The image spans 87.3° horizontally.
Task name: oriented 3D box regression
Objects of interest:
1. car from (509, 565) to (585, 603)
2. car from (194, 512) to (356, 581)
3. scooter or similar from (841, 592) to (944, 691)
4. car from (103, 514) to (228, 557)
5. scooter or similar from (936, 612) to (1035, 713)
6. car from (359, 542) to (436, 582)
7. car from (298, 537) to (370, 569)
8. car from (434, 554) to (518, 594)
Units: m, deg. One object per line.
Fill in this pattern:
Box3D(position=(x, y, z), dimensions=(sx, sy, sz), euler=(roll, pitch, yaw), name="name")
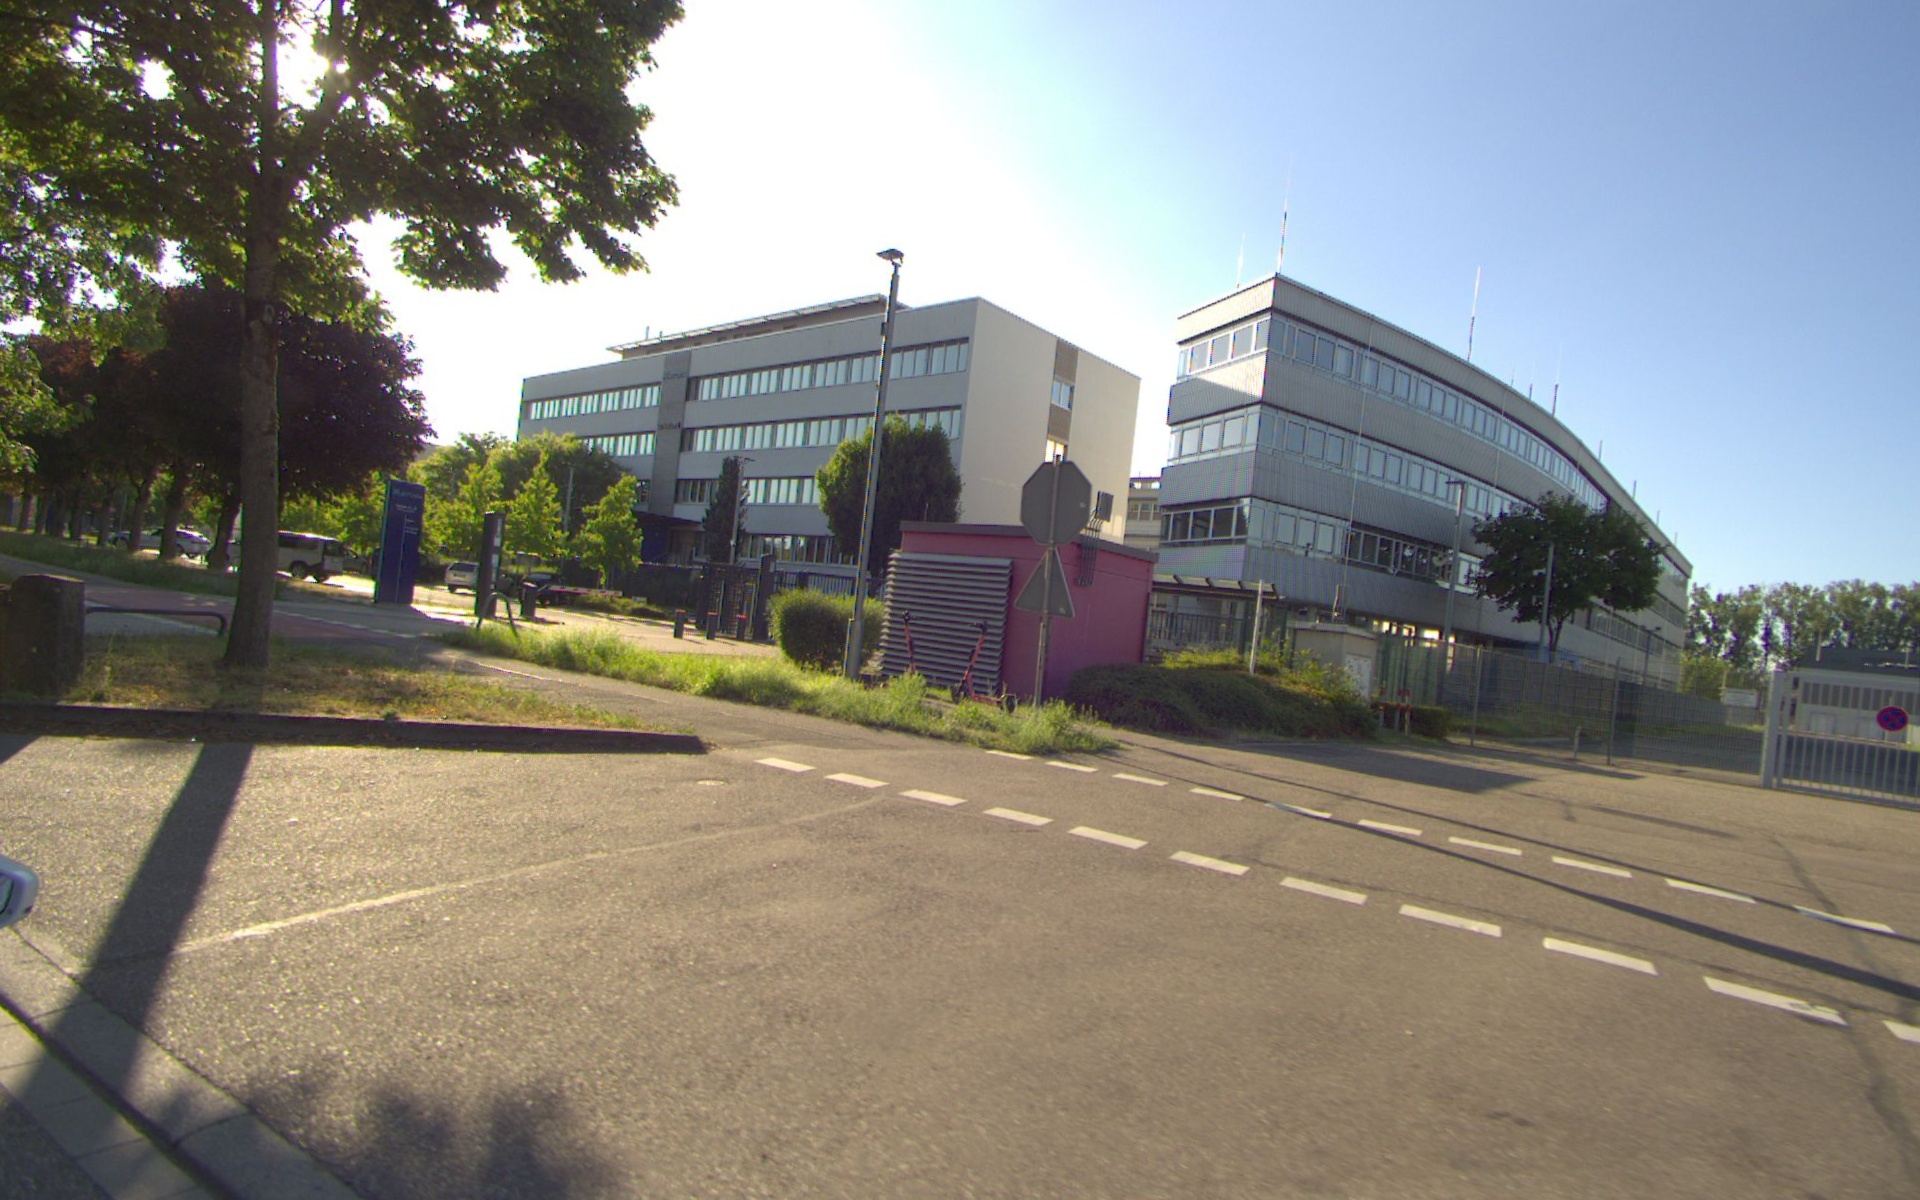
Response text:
Box3D(position=(-18.531, -0.678, 45.320), dimensions=(1.774, 1.370, 4.000), euler=(7, -1, -2), name="car")
Box3D(position=(-27.587, -2.110, 40.639), dimensions=(4.867, 1.957, 1.999), euler=(8, -1, -5), name="car")
Box3D(position=(-1.011, 0.609, 14.919), dimensions=(1.365, 1.287, 0.520), euler=(6, 0, 33), name="scooter or similar")
Box3D(position=(-43.641, -3.535, 55.367), dimensions=(4.873, 1.593, 1.996), euler=(7, -1, -12), name="car")
Box3D(position=(0.357, 0.879, 14.312), dimensions=(1.181, 1.287, 0.520), euler=(6, 0, 33), name="scooter or similar")
Box3D(position=(-31.192, -2.079, 55.966), dimensions=(1.735, 1.771, 4.494), euler=(7, -1, -3), name="car")
Box3D(position=(-39.378, -2.912, 63.427), dimensions=(1.735, 1.546, 4.305), euler=(6, -1, 0), name="car")
Box3D(position=(-23.669, -1.220, 49.345), dimensions=(1.773, 1.547, 4.315), euler=(7, -1, 2), name="car")
